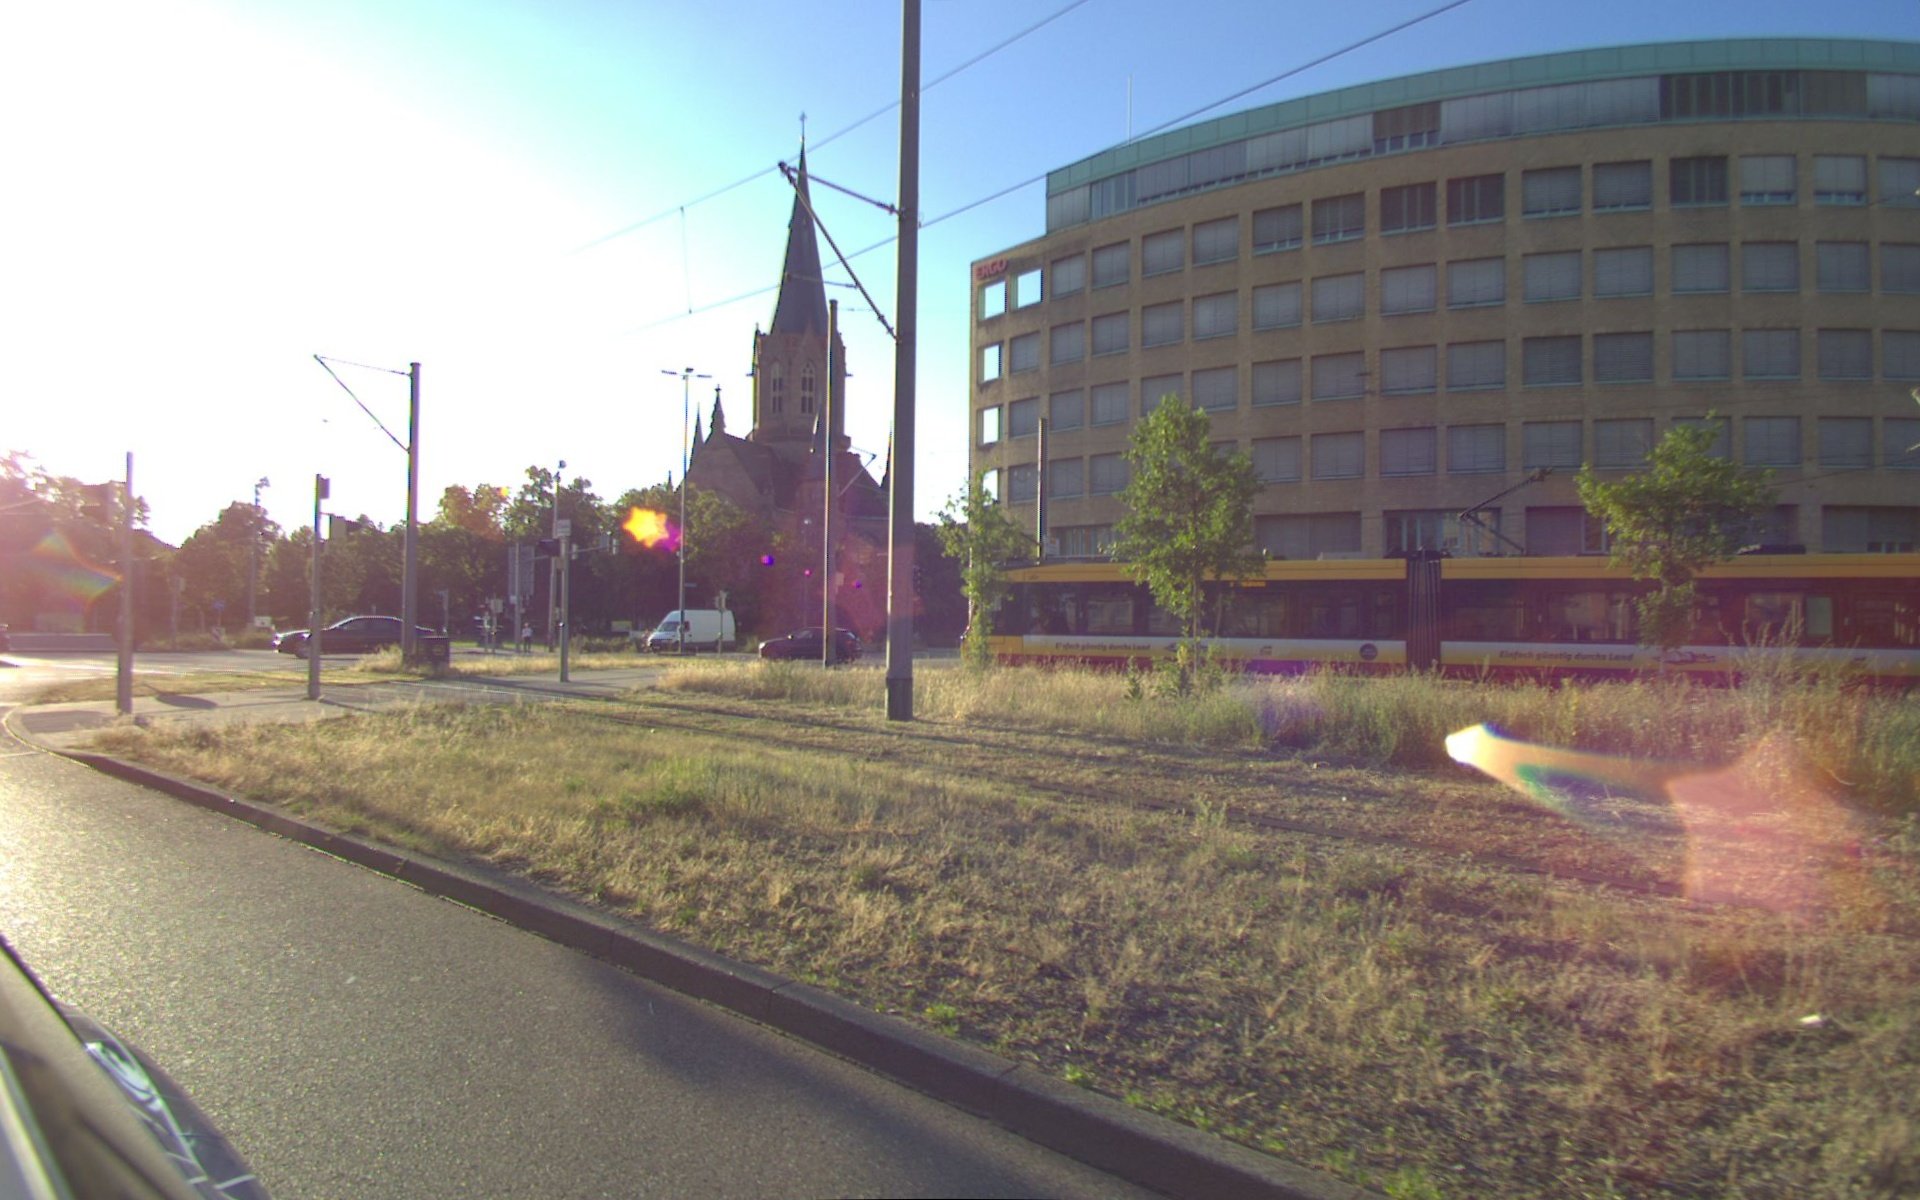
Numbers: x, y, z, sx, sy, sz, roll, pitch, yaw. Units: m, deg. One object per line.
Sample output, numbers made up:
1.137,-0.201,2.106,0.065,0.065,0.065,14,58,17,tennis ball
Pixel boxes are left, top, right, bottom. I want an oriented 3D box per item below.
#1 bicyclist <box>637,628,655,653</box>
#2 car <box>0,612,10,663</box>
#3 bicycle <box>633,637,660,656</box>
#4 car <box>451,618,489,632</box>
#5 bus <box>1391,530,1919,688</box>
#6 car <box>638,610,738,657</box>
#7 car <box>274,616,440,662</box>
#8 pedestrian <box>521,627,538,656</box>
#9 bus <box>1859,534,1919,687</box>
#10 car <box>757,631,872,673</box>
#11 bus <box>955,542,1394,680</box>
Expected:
-20.349,2.635,65.570,0.819,1.580,0.726,-1,-1,29,bicyclist
-29.471,0.971,27.596,1.878,1.447,4.974,0,-3,40,car
-20.327,3.001,65.641,0.488,1.191,1.953,-1,-1,28,bicycle
-64.778,3.289,133.757,4.070,1.836,2.001,0,-1,-3,car
16.579,0.286,25.174,10.666,3.356,3.732,-1,-1,23,bus
-17.524,2.182,65.798,2.295,2.900,7.142,-1,-2,24,car
-21.369,1.358,36.070,4.941,1.519,1.730,1,-2,-30,car
-25.222,2.402,59.274,0.655,1.694,0.656,-1,-2,26,pedestrian
27.910,0.149,20.741,13.609,3.388,3.736,-1,-1,20,bus
-5.600,1.984,39.099,3.959,1.554,1.992,-1,-1,12,car
6.102,0.391,29.689,12.053,3.482,3.732,-1,-1,23,bus
